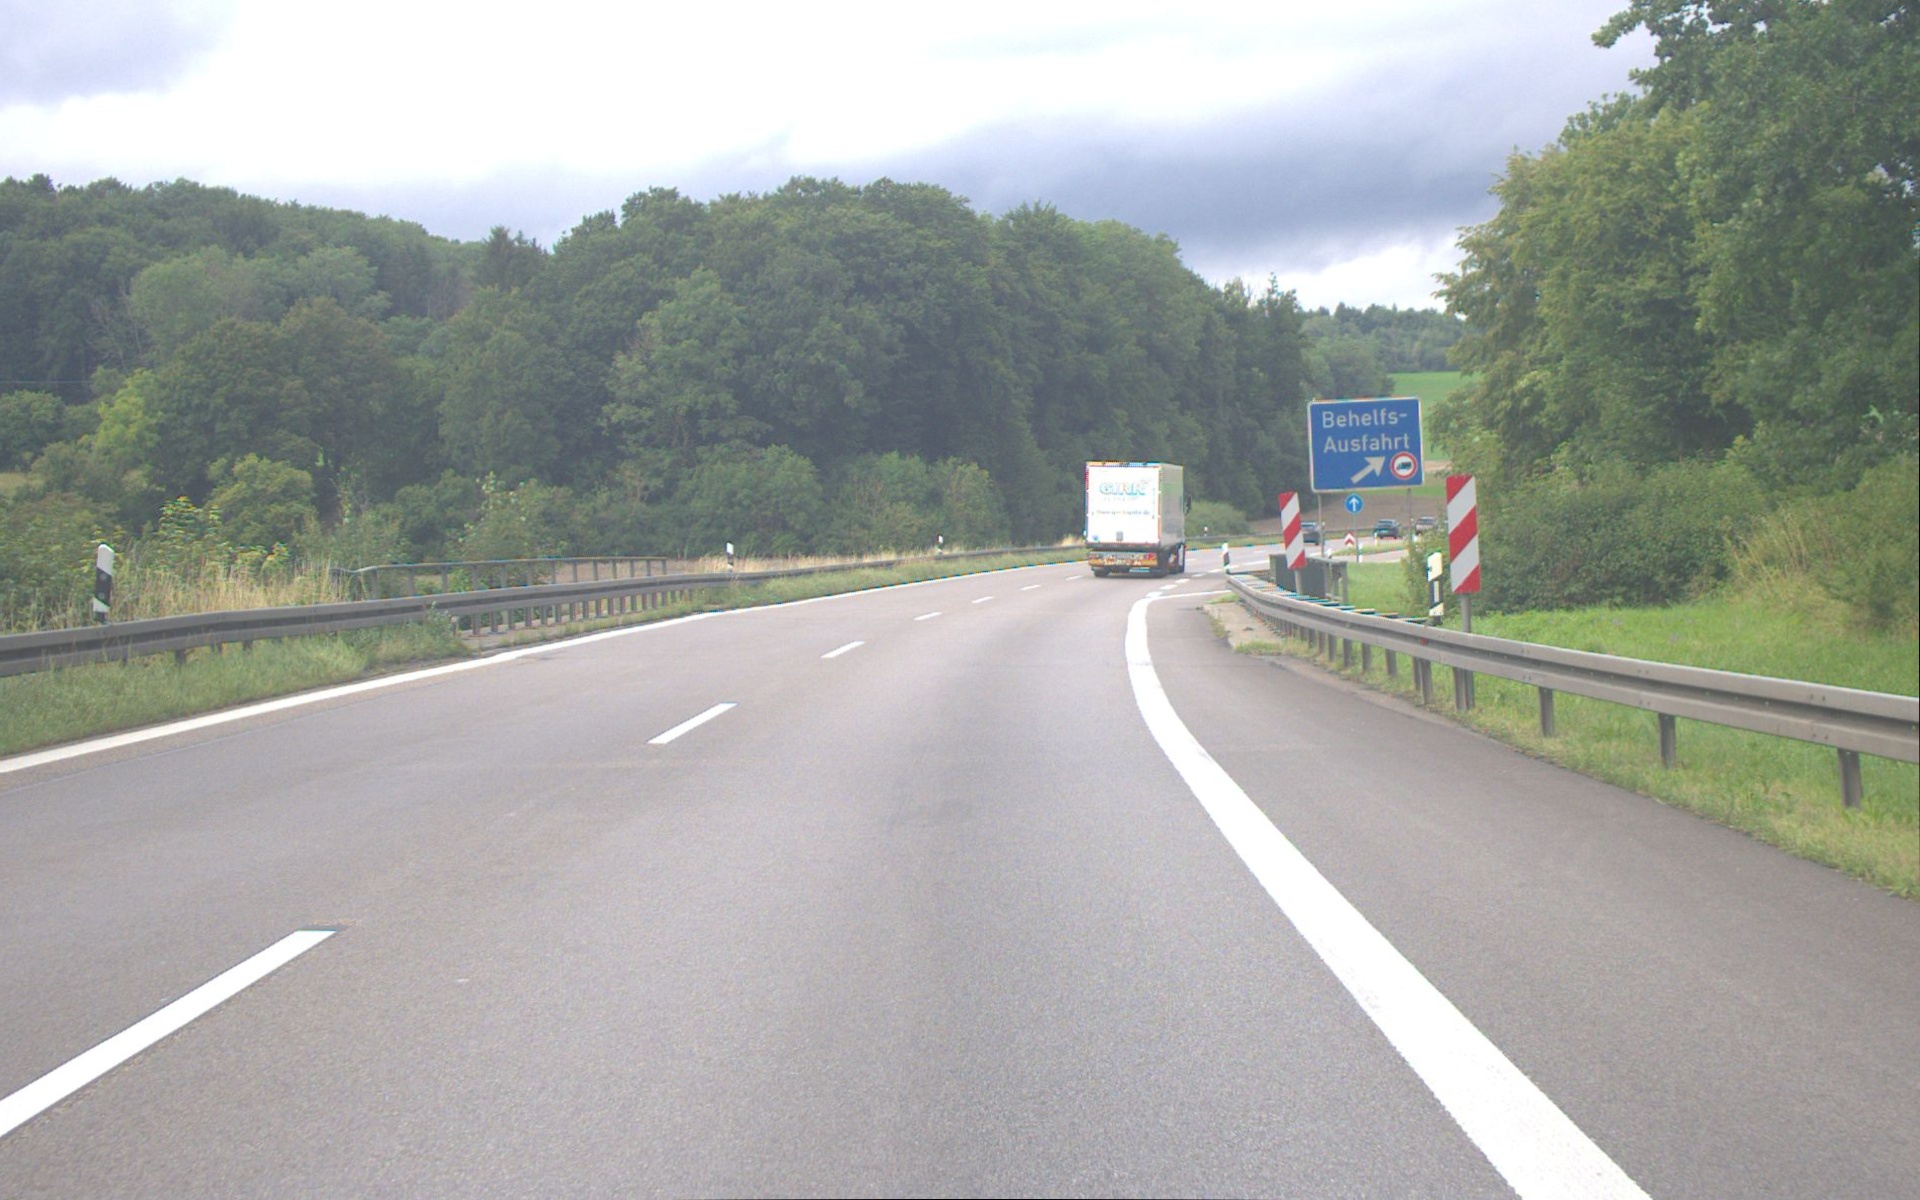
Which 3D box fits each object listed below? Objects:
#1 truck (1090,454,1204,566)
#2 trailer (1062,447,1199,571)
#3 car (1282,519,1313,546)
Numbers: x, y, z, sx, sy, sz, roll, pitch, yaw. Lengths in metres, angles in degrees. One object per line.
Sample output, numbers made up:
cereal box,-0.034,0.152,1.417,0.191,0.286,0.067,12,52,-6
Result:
truck,7.157,-3.417,130.618,3.788,4.117,8.263,0,1,7
trailer,6.253,-3.240,123.114,3.807,4.160,14.805,0,1,7
car,23.581,-4.709,240.222,1.903,1.789,3.998,0,0,9
